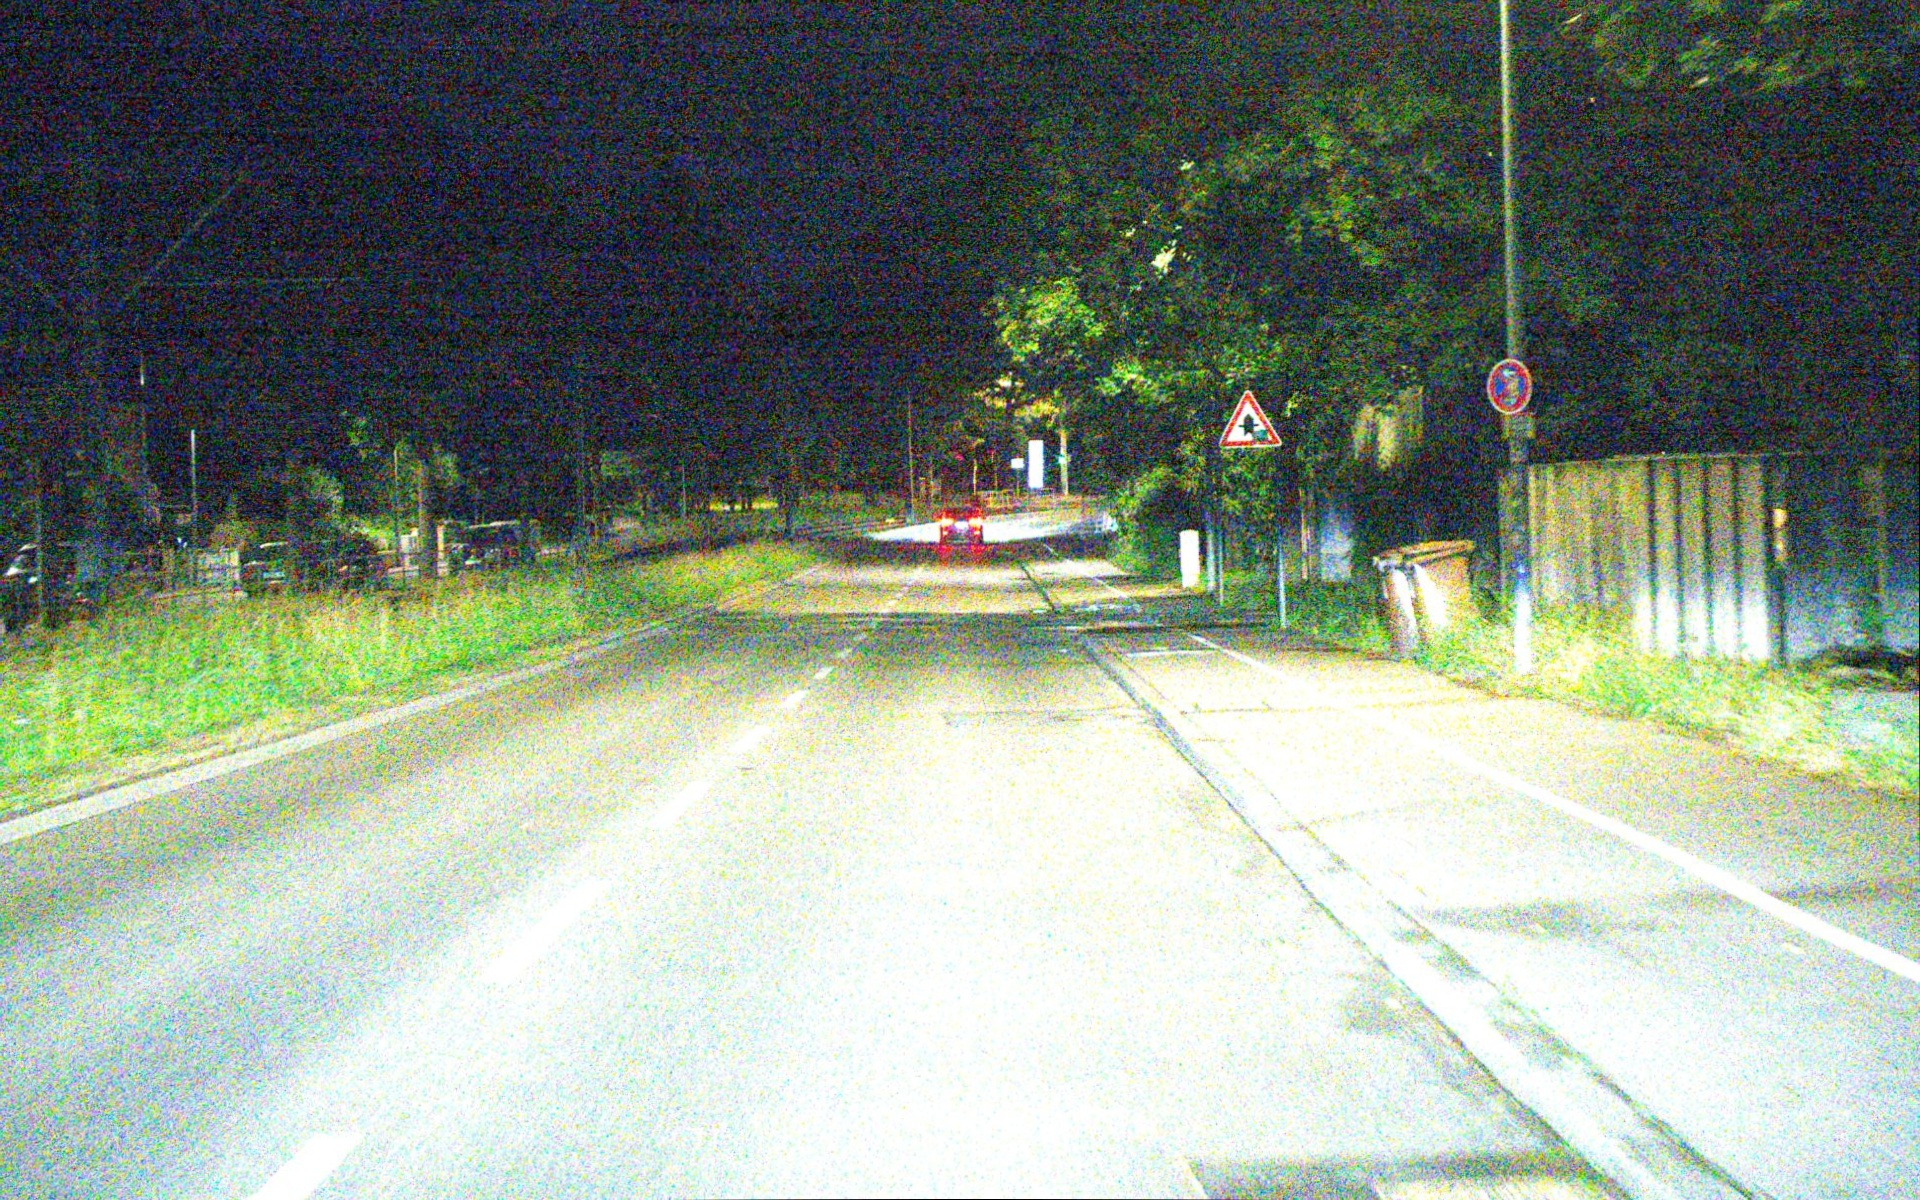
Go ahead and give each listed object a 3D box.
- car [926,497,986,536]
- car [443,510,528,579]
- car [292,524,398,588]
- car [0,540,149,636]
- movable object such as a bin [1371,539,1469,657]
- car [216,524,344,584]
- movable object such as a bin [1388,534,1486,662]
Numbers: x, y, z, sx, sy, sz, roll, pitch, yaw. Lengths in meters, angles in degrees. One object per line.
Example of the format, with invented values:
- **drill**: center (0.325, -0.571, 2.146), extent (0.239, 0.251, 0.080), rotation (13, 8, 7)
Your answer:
- **car**: center (-0.174, -3.471, 143.926), extent (2.161, 1.577, 4.014), rotation (-1, 1, -5)
- **car**: center (-15.544, -1.839, 112.754), extent (2.091, 2.006, 4.001), rotation (-5, 2, -1)
- **car**: center (-15.707, -1.137, 87.993), extent (1.993, 1.524, 4.000), rotation (-1, 2, -1)
- **car**: center (-16.287, -0.247, 62.515), extent (1.993, 1.622, 4.677), rotation (-1, 1, -1)
- **movable object such as a bin**: center (4.450, -0.028, 33.312), extent (0.857, 1.115, 0.840), rotation (-1, 1, 3)
- **car**: center (-16.184, -1.117, 82.051), extent (1.993, 1.333, 5.432), rotation (-1, 1, -1)
- **movable object such as a bin**: center (4.494, -0.023, 32.436), extent (0.833, 1.177, 0.828), rotation (-1, 1, 3)
